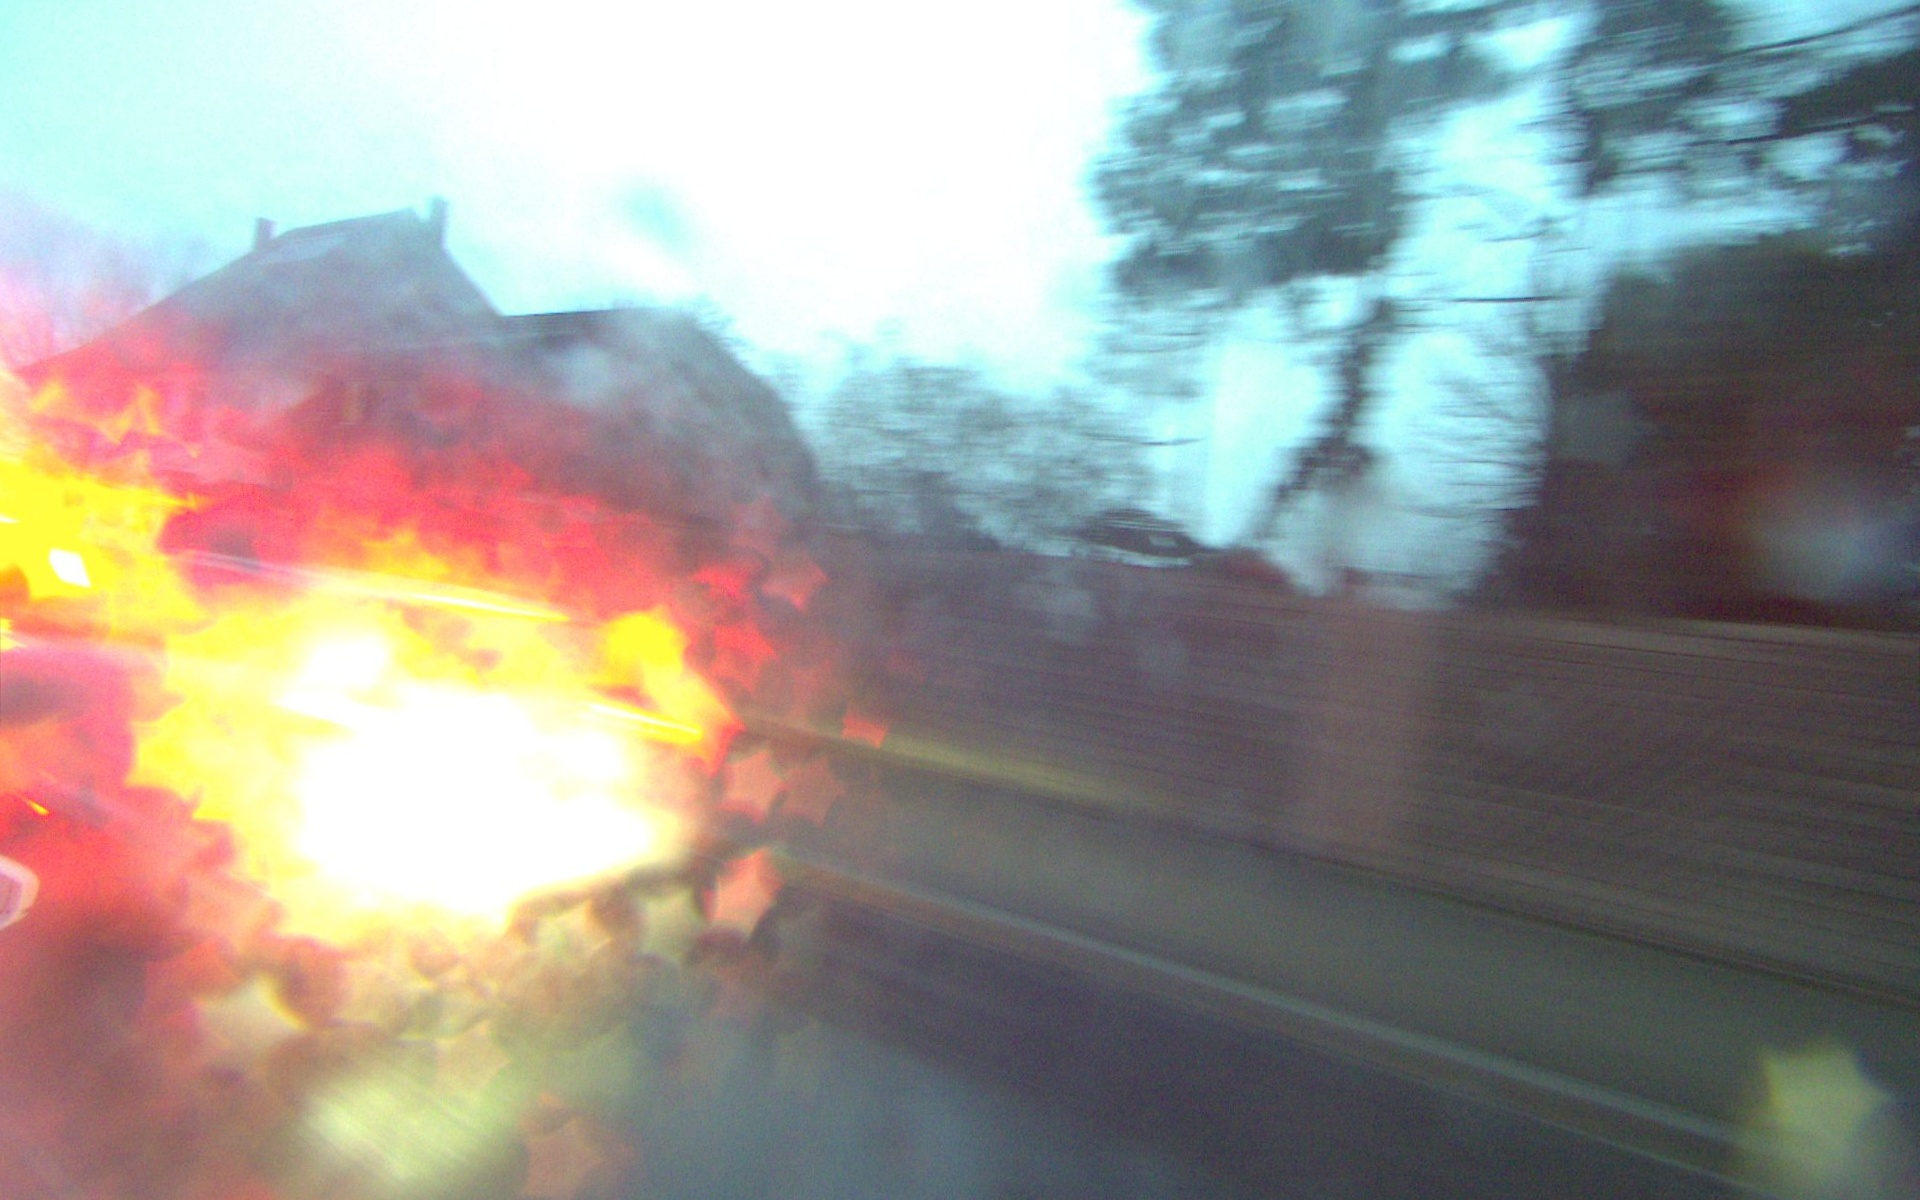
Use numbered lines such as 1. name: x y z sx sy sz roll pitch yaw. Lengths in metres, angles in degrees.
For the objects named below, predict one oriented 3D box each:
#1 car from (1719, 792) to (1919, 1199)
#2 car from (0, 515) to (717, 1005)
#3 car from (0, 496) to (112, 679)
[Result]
1. car: 3.616 1.341 0.718 4.690 1.382 1.644 7 -2 32
2. car: -3.387 0.465 4.970 4.201 1.351 1.656 7 -1 32
3. car: -9.834 -0.347 9.294 4.200 1.488 1.705 7 -2 31
